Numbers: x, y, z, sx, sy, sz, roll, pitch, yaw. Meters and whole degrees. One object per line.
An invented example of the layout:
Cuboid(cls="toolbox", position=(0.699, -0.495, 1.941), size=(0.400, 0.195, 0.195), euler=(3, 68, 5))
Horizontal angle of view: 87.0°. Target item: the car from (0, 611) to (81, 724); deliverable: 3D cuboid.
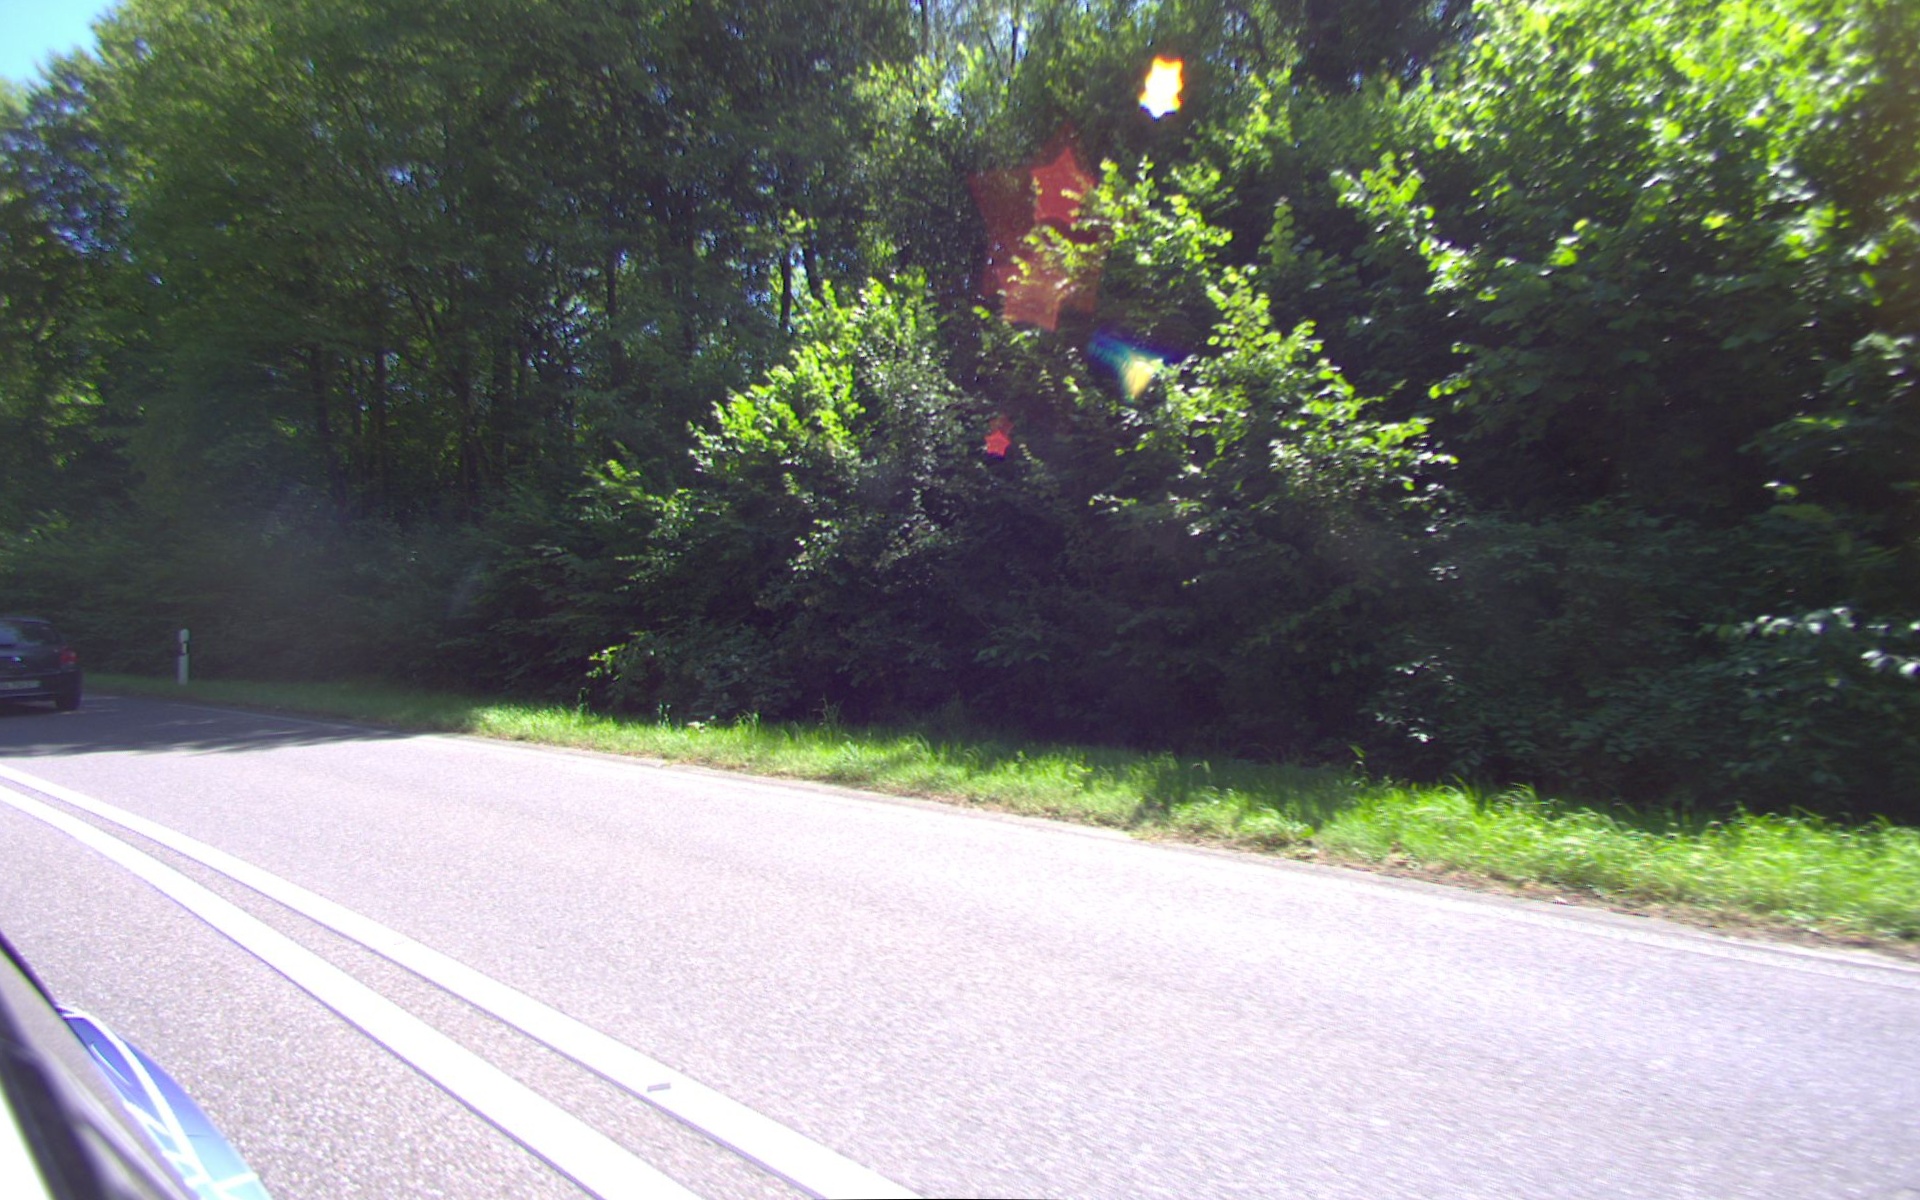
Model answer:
Cuboid(cls="car", position=(-15.023, 0.958, 15.298), size=(3.885, 1.586, 1.663), euler=(0, -2, 35))
